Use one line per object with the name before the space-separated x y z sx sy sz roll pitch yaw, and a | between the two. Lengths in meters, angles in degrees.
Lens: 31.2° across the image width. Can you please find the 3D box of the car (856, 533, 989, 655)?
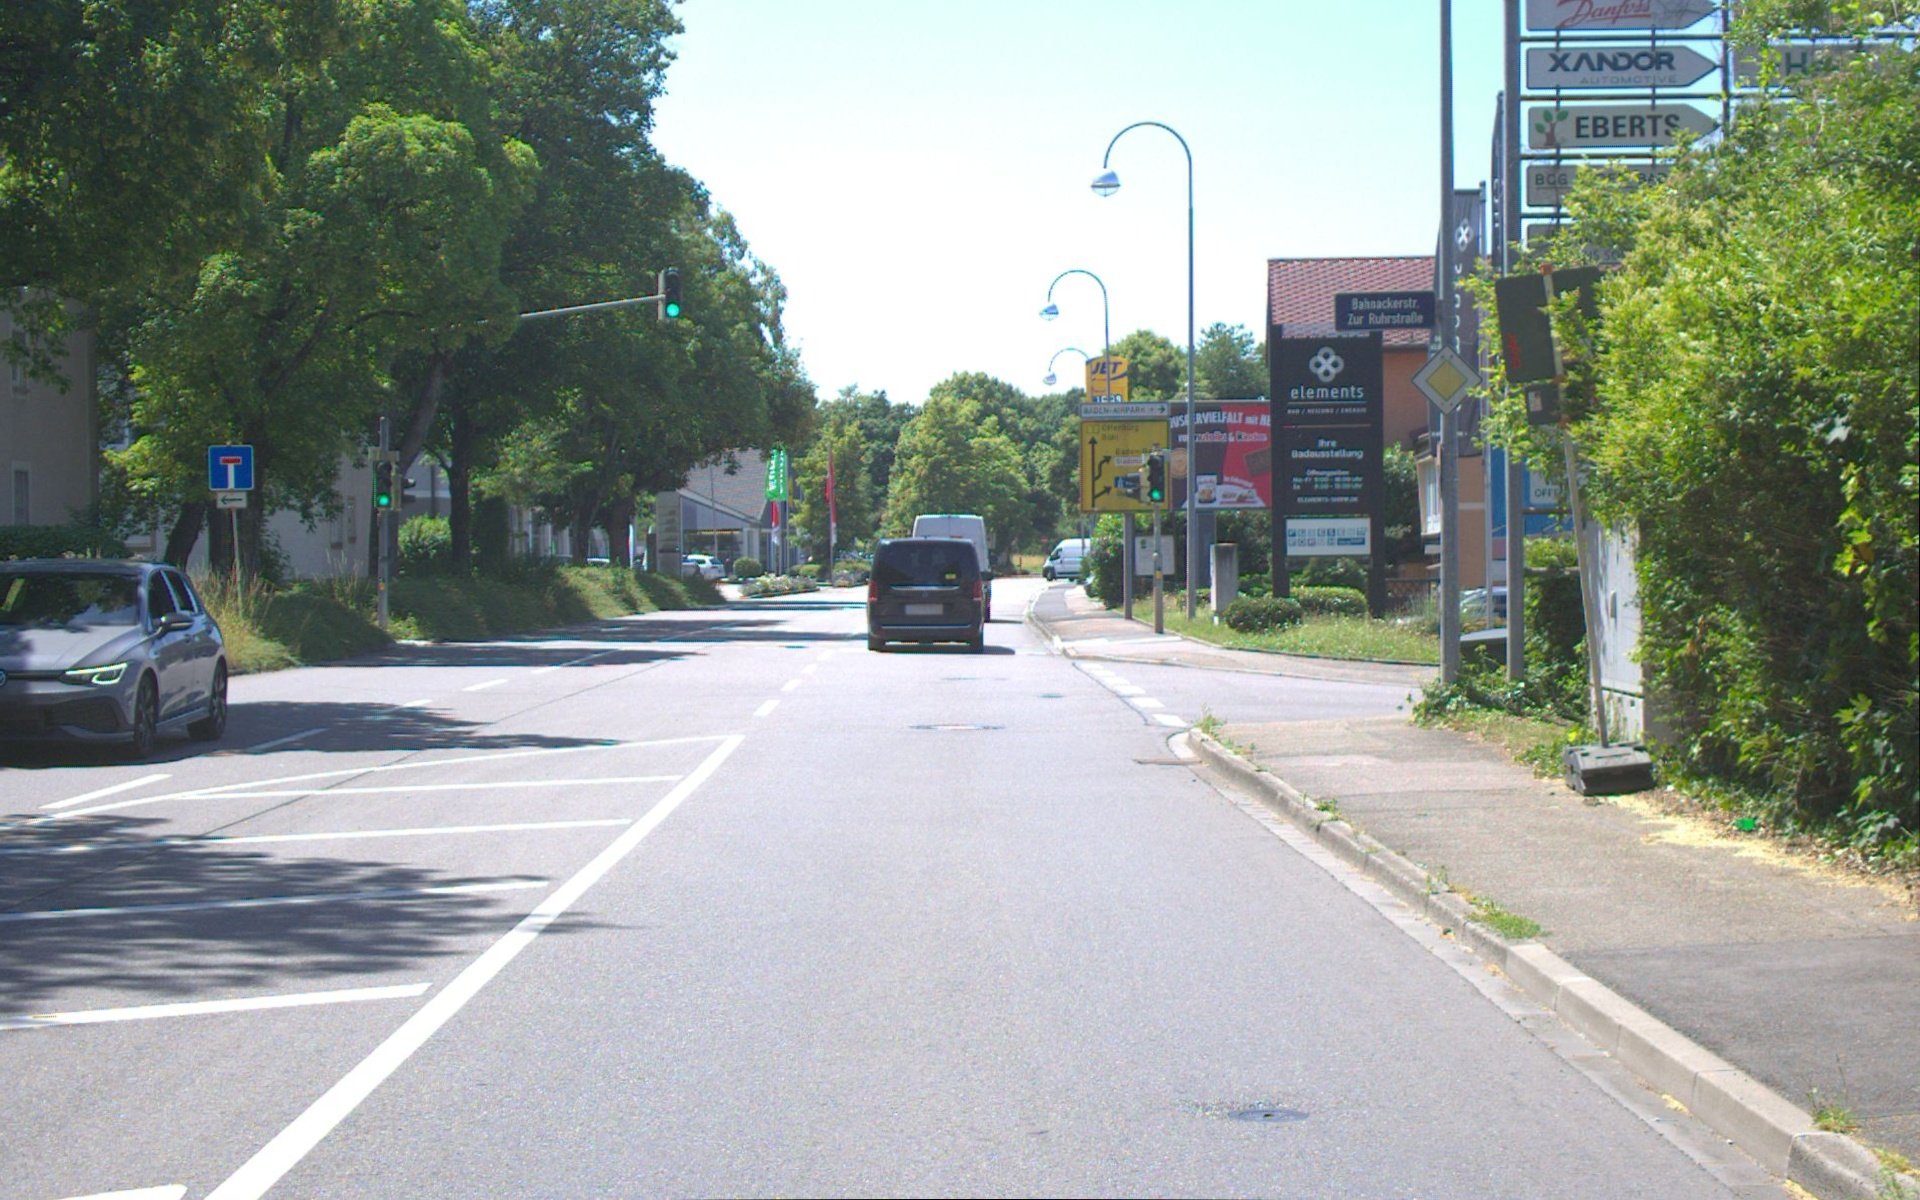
car | -0.656 -0.133 56.285 1.993 1.887 4.001 1 1 -3

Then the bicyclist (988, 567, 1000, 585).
bicyclist | 1.727 -1.218 175.302 0.468 0.850 0.558 -1 3 -13

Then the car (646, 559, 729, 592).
car | -14.354 -1.279 181.279 3.989 1.656 1.999 1 1 11

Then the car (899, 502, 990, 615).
car | -0.353 -1.047 84.489 2.120 2.668 5.662 1 1 1

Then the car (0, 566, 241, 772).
car | -6.665 0.461 25.966 1.721 1.422 4.148 1 0 -2

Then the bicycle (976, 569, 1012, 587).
bicycle | 1.735 -1.134 175.306 1.715 0.884 0.558 -1 3 -13

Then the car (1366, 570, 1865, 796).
car | 5.765 0.726 30.353 4.070 1.509 1.855 6 -1 12
